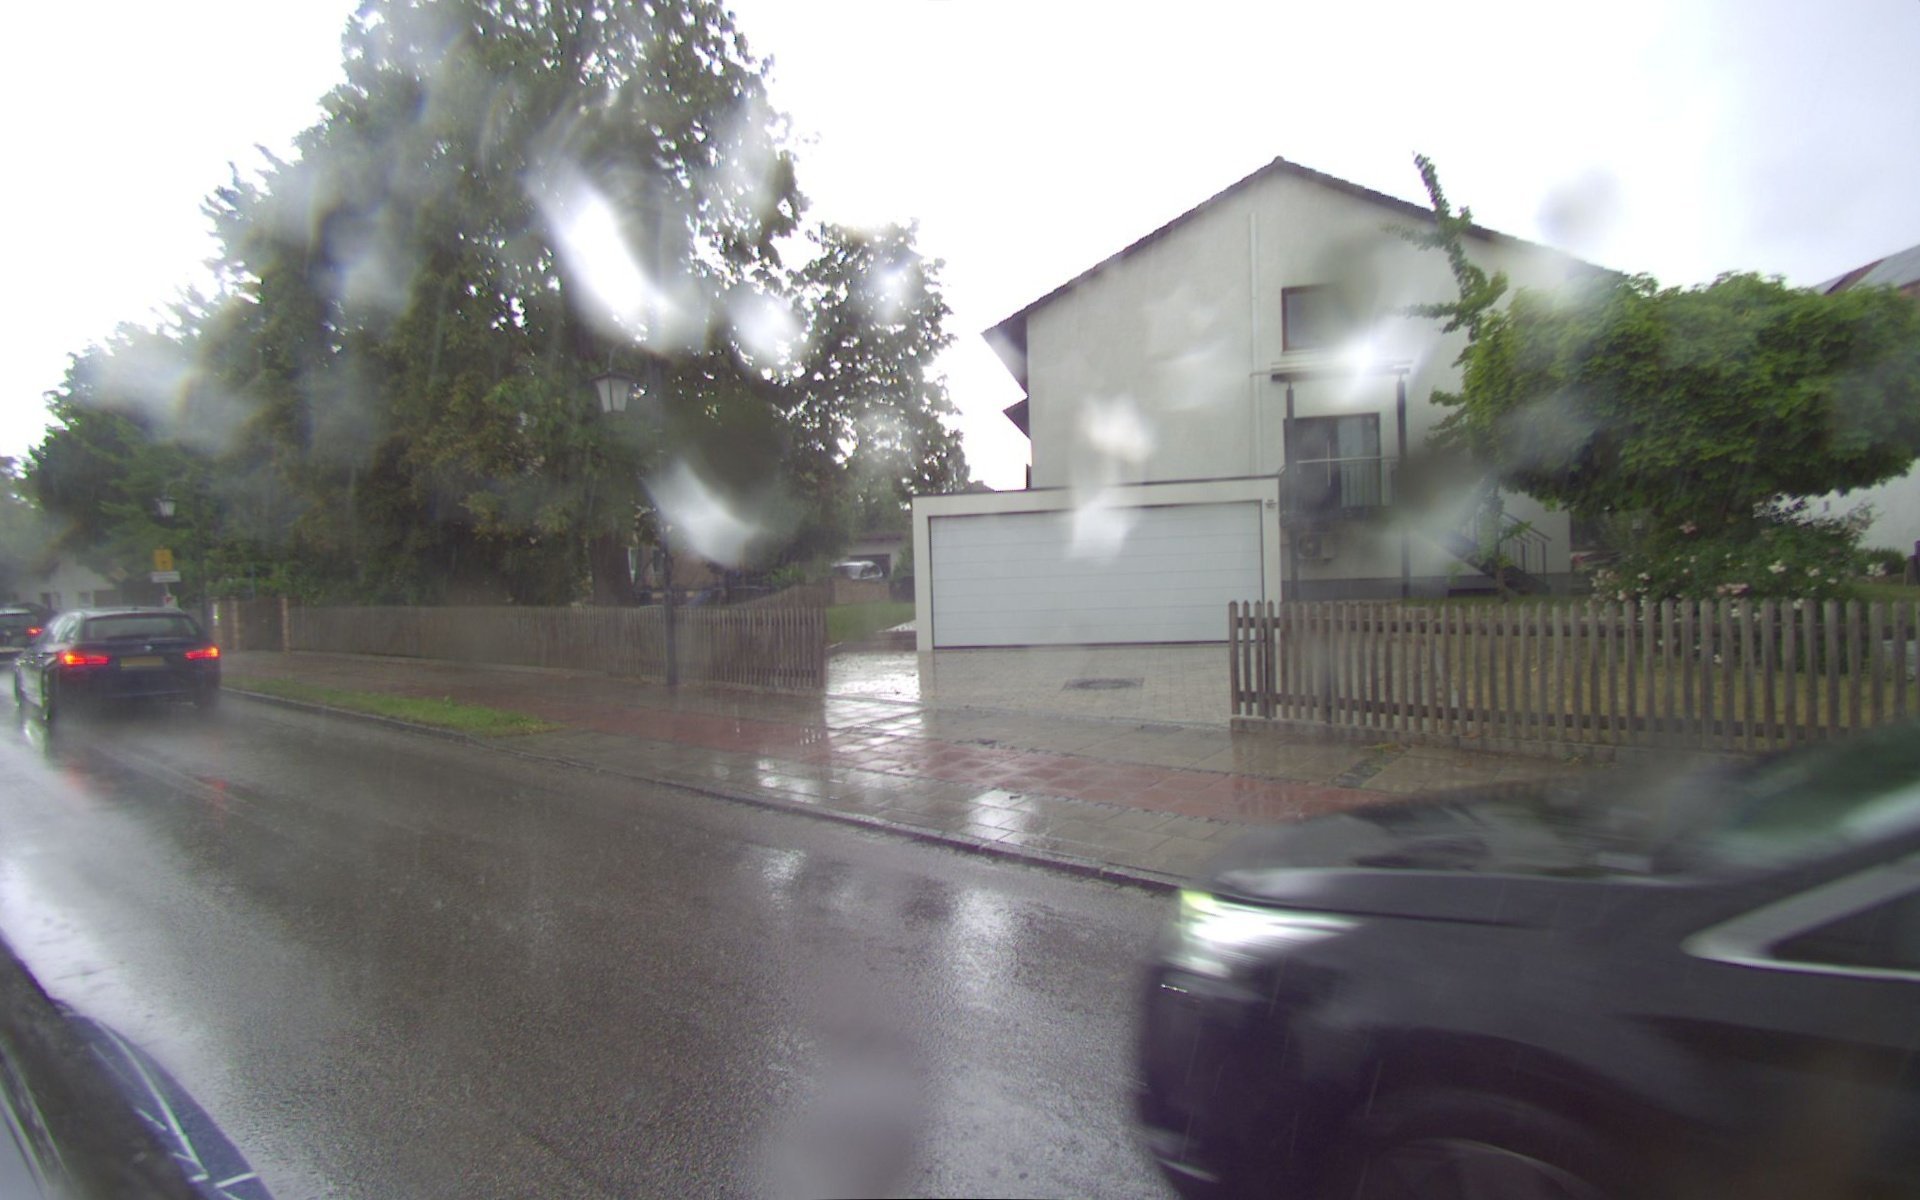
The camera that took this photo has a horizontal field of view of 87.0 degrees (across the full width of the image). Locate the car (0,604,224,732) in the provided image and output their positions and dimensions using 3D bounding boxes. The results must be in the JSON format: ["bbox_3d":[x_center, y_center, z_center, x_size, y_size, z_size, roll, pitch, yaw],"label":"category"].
[{"bbox_3d":[-12.021,0.841,14.175,4.371,1.476,1.762,-1,1,40],"label":"car"}]

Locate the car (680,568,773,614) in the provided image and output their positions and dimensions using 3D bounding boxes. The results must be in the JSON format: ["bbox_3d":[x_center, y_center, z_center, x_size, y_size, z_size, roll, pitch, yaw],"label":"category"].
[{"bbox_3d":[-10.567,-0.425,45.960,3.613,1.815,1.839,-3,2,7],"label":"car"}]

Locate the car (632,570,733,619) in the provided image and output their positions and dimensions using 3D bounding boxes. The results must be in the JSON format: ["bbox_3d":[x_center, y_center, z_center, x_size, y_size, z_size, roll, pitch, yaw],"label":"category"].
[{"bbox_3d":[-11.773,-0.242,43.079,3.613,1.815,1.839,-3,2,7],"label":"car"}]

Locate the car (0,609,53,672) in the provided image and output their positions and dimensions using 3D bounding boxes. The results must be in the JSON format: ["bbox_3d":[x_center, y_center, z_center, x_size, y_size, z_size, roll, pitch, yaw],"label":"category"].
[{"bbox_3d":[-24.662,1.013,25.862,3.998,1.476,1.691,-1,1,41],"label":"car"}]

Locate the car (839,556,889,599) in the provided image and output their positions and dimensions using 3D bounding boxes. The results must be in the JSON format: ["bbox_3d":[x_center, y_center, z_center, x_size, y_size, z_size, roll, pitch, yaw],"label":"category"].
[{"bbox_3d":[-5.358,-1.239,56.808,1.767,2.311,3.838,-1,0,11],"label":"car"}]

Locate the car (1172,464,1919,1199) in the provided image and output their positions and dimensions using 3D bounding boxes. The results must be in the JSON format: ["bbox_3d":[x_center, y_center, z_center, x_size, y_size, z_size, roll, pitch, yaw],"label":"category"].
[{"bbox_3d":[2.515,0.581,1.176,4.186,1.532,1.621,-2,-1,41],"label":"car"}]
